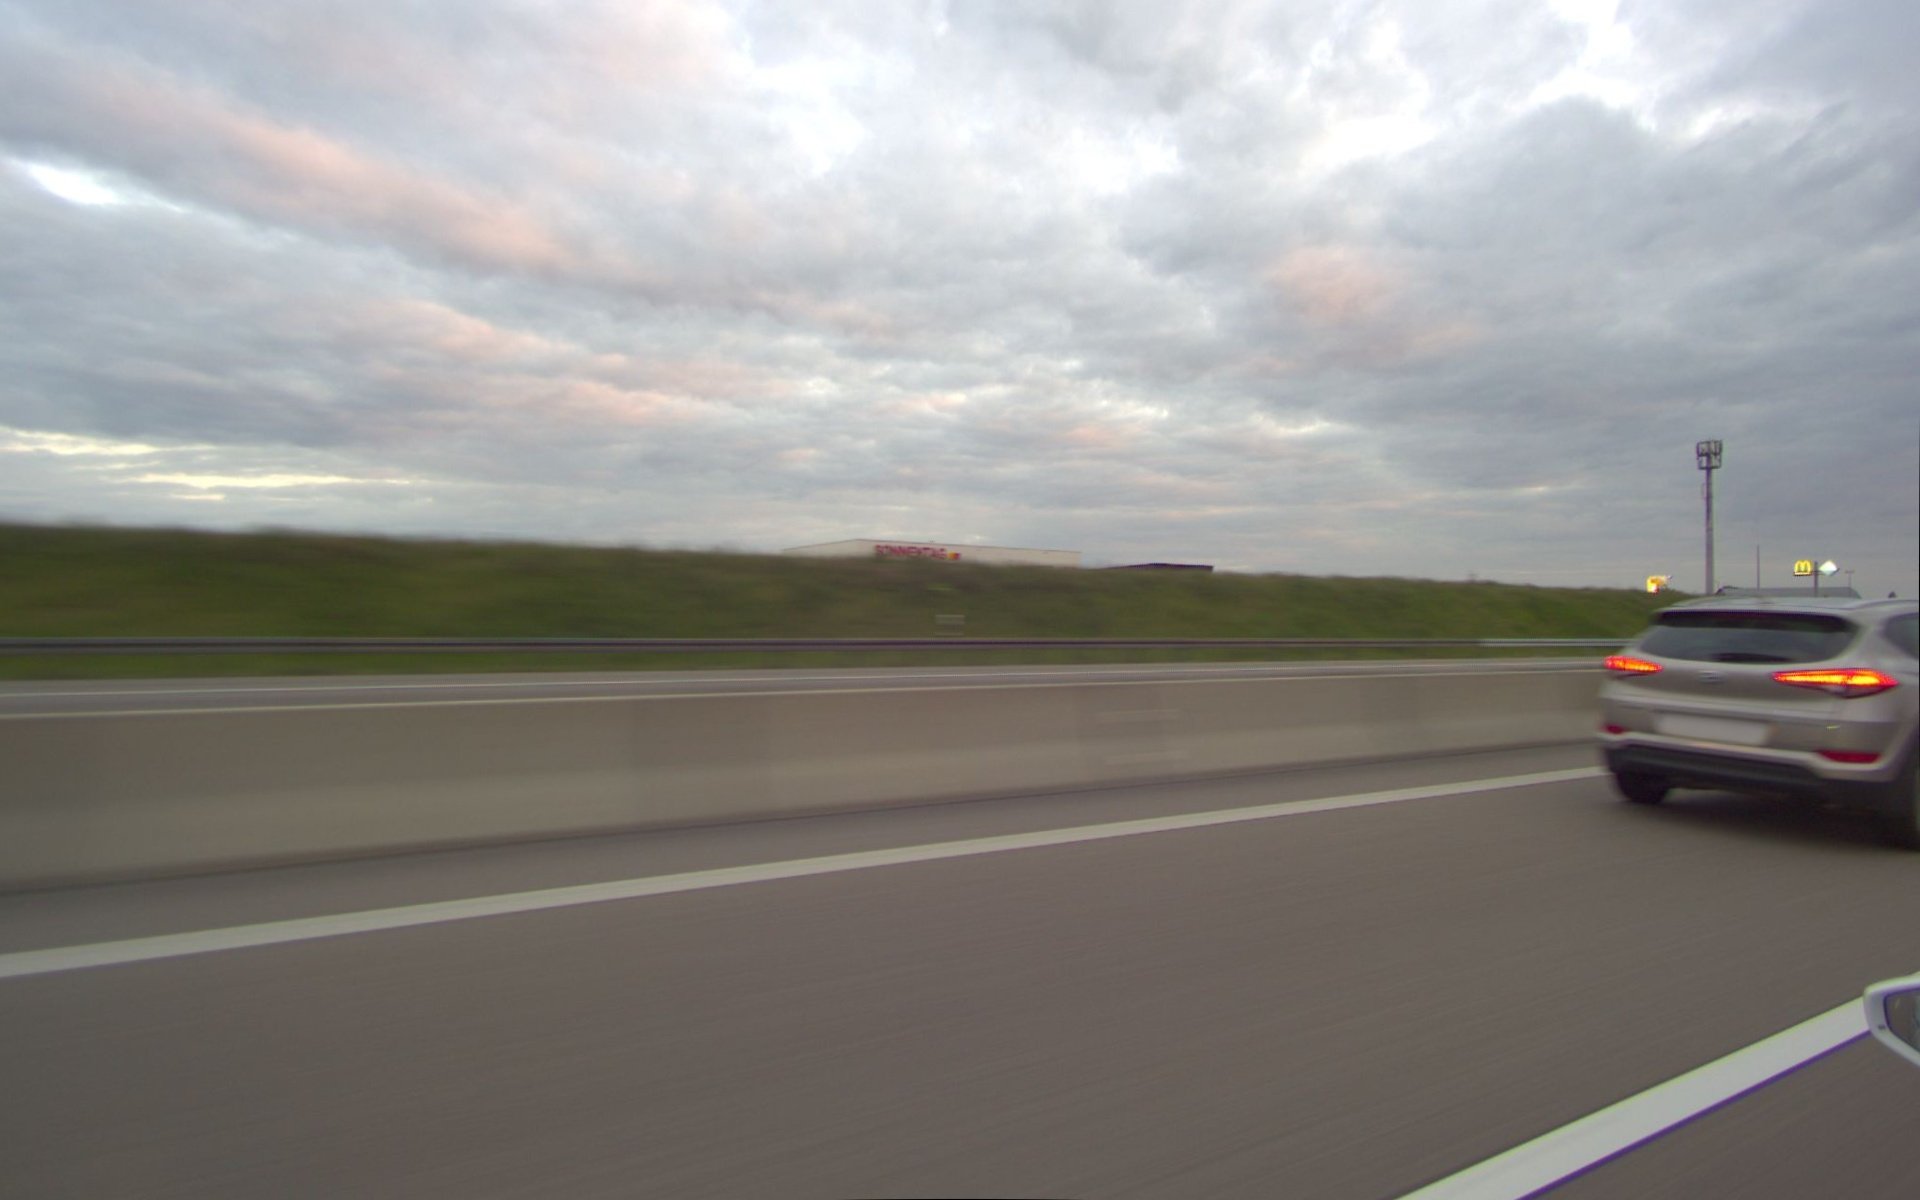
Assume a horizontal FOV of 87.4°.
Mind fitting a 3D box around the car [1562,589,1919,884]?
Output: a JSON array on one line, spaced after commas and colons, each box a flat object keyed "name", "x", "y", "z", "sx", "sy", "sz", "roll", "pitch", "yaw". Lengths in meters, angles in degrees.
[{"name": "car", "x": 7.277, "y": 0.849, "z": 8.007, "sx": 5.446, "sy": 1.715, "sz": 1.844, "roll": 1, "pitch": -1, "yaw": -30}]
